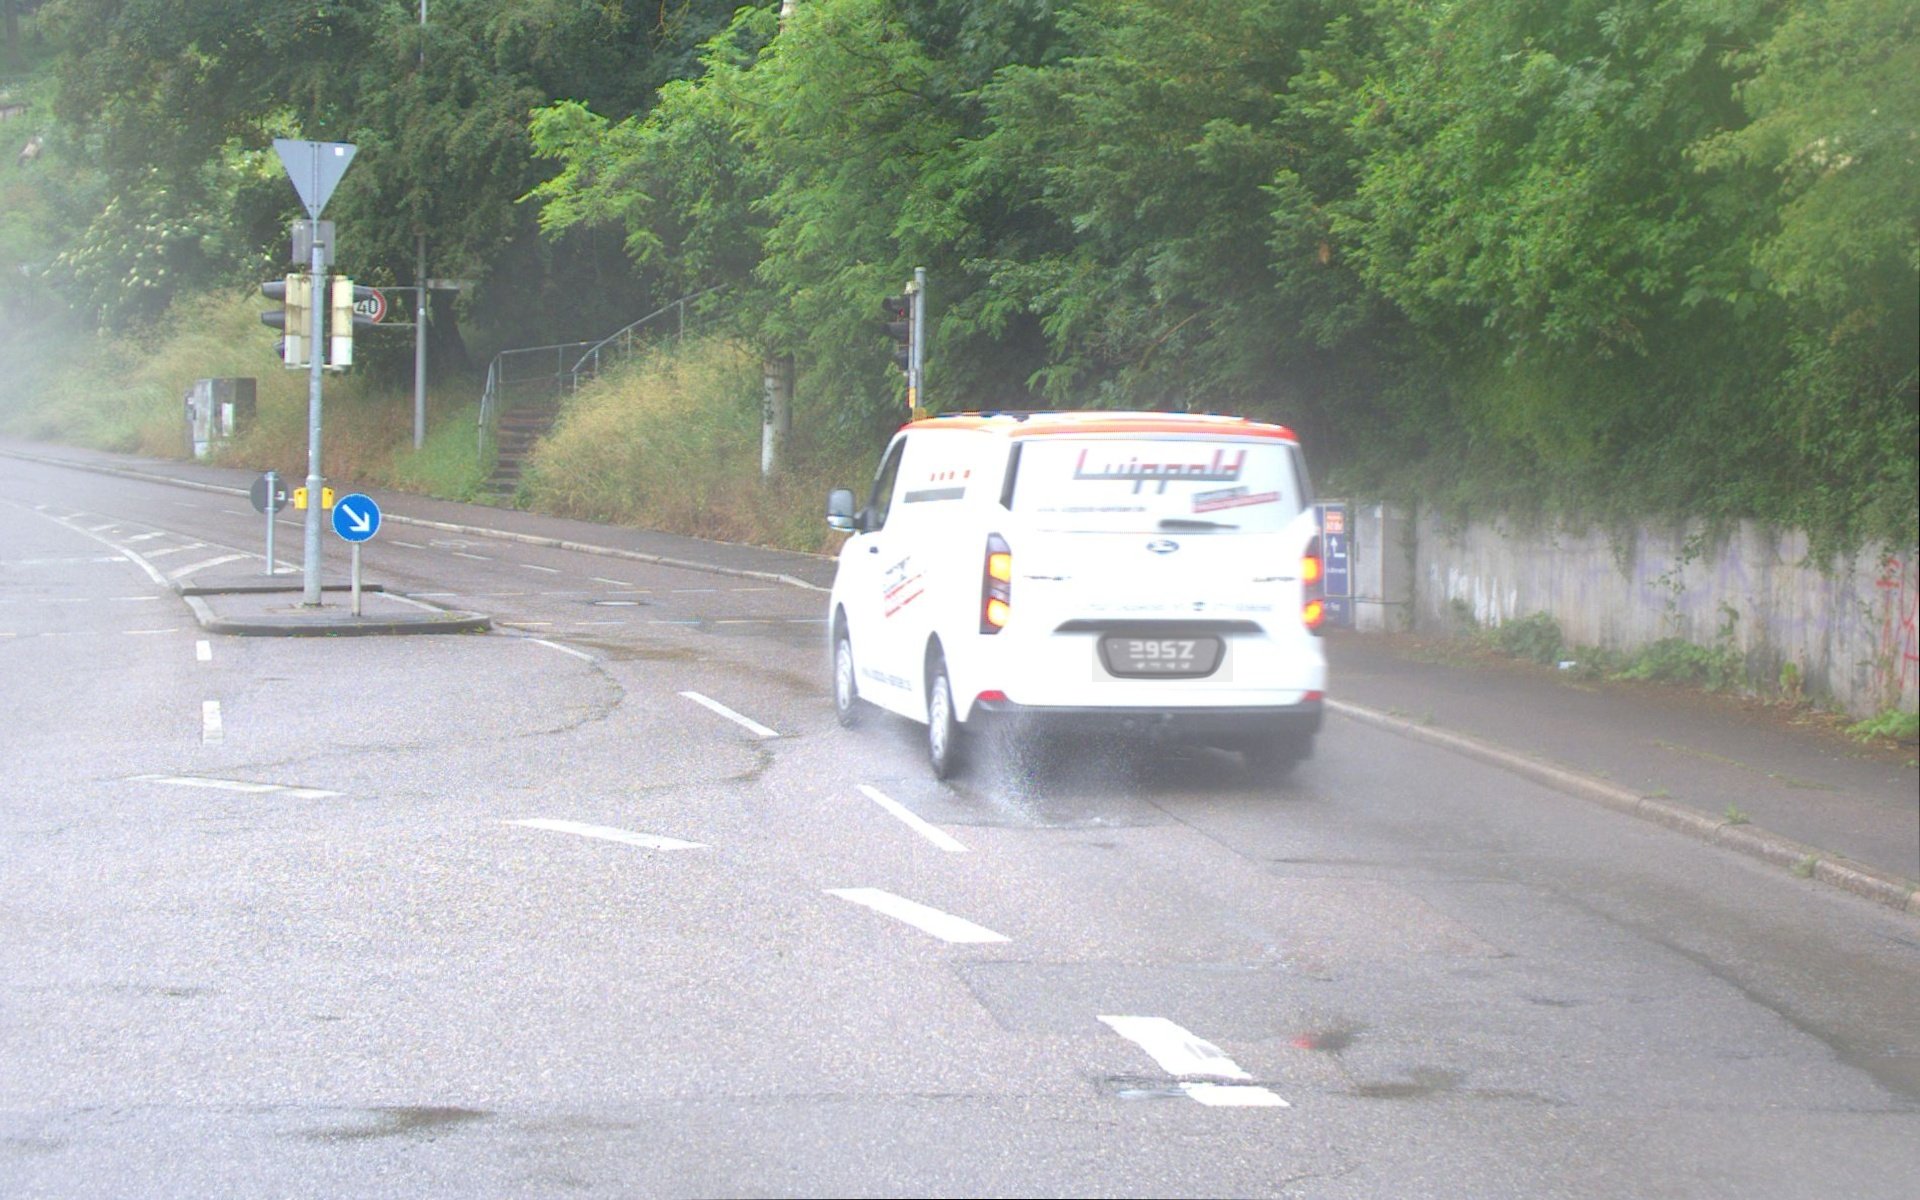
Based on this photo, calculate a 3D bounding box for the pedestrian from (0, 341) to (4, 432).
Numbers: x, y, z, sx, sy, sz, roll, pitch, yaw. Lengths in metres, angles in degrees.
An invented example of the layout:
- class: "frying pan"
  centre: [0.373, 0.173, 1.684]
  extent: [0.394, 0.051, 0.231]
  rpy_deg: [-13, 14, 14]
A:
- class: "pedestrian"
  centre: [-19.116, -4.159, 66.978]
  extent: [0.880, 1.730, 0.866]
  rpy_deg: [0, 0, -19]

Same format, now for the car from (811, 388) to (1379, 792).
- class: "car"
  centre: [0.592, -0.138, 19.614]
  extent: [2.065, 1.999, 4.816]
  rpy_deg: [0, 2, -12]
